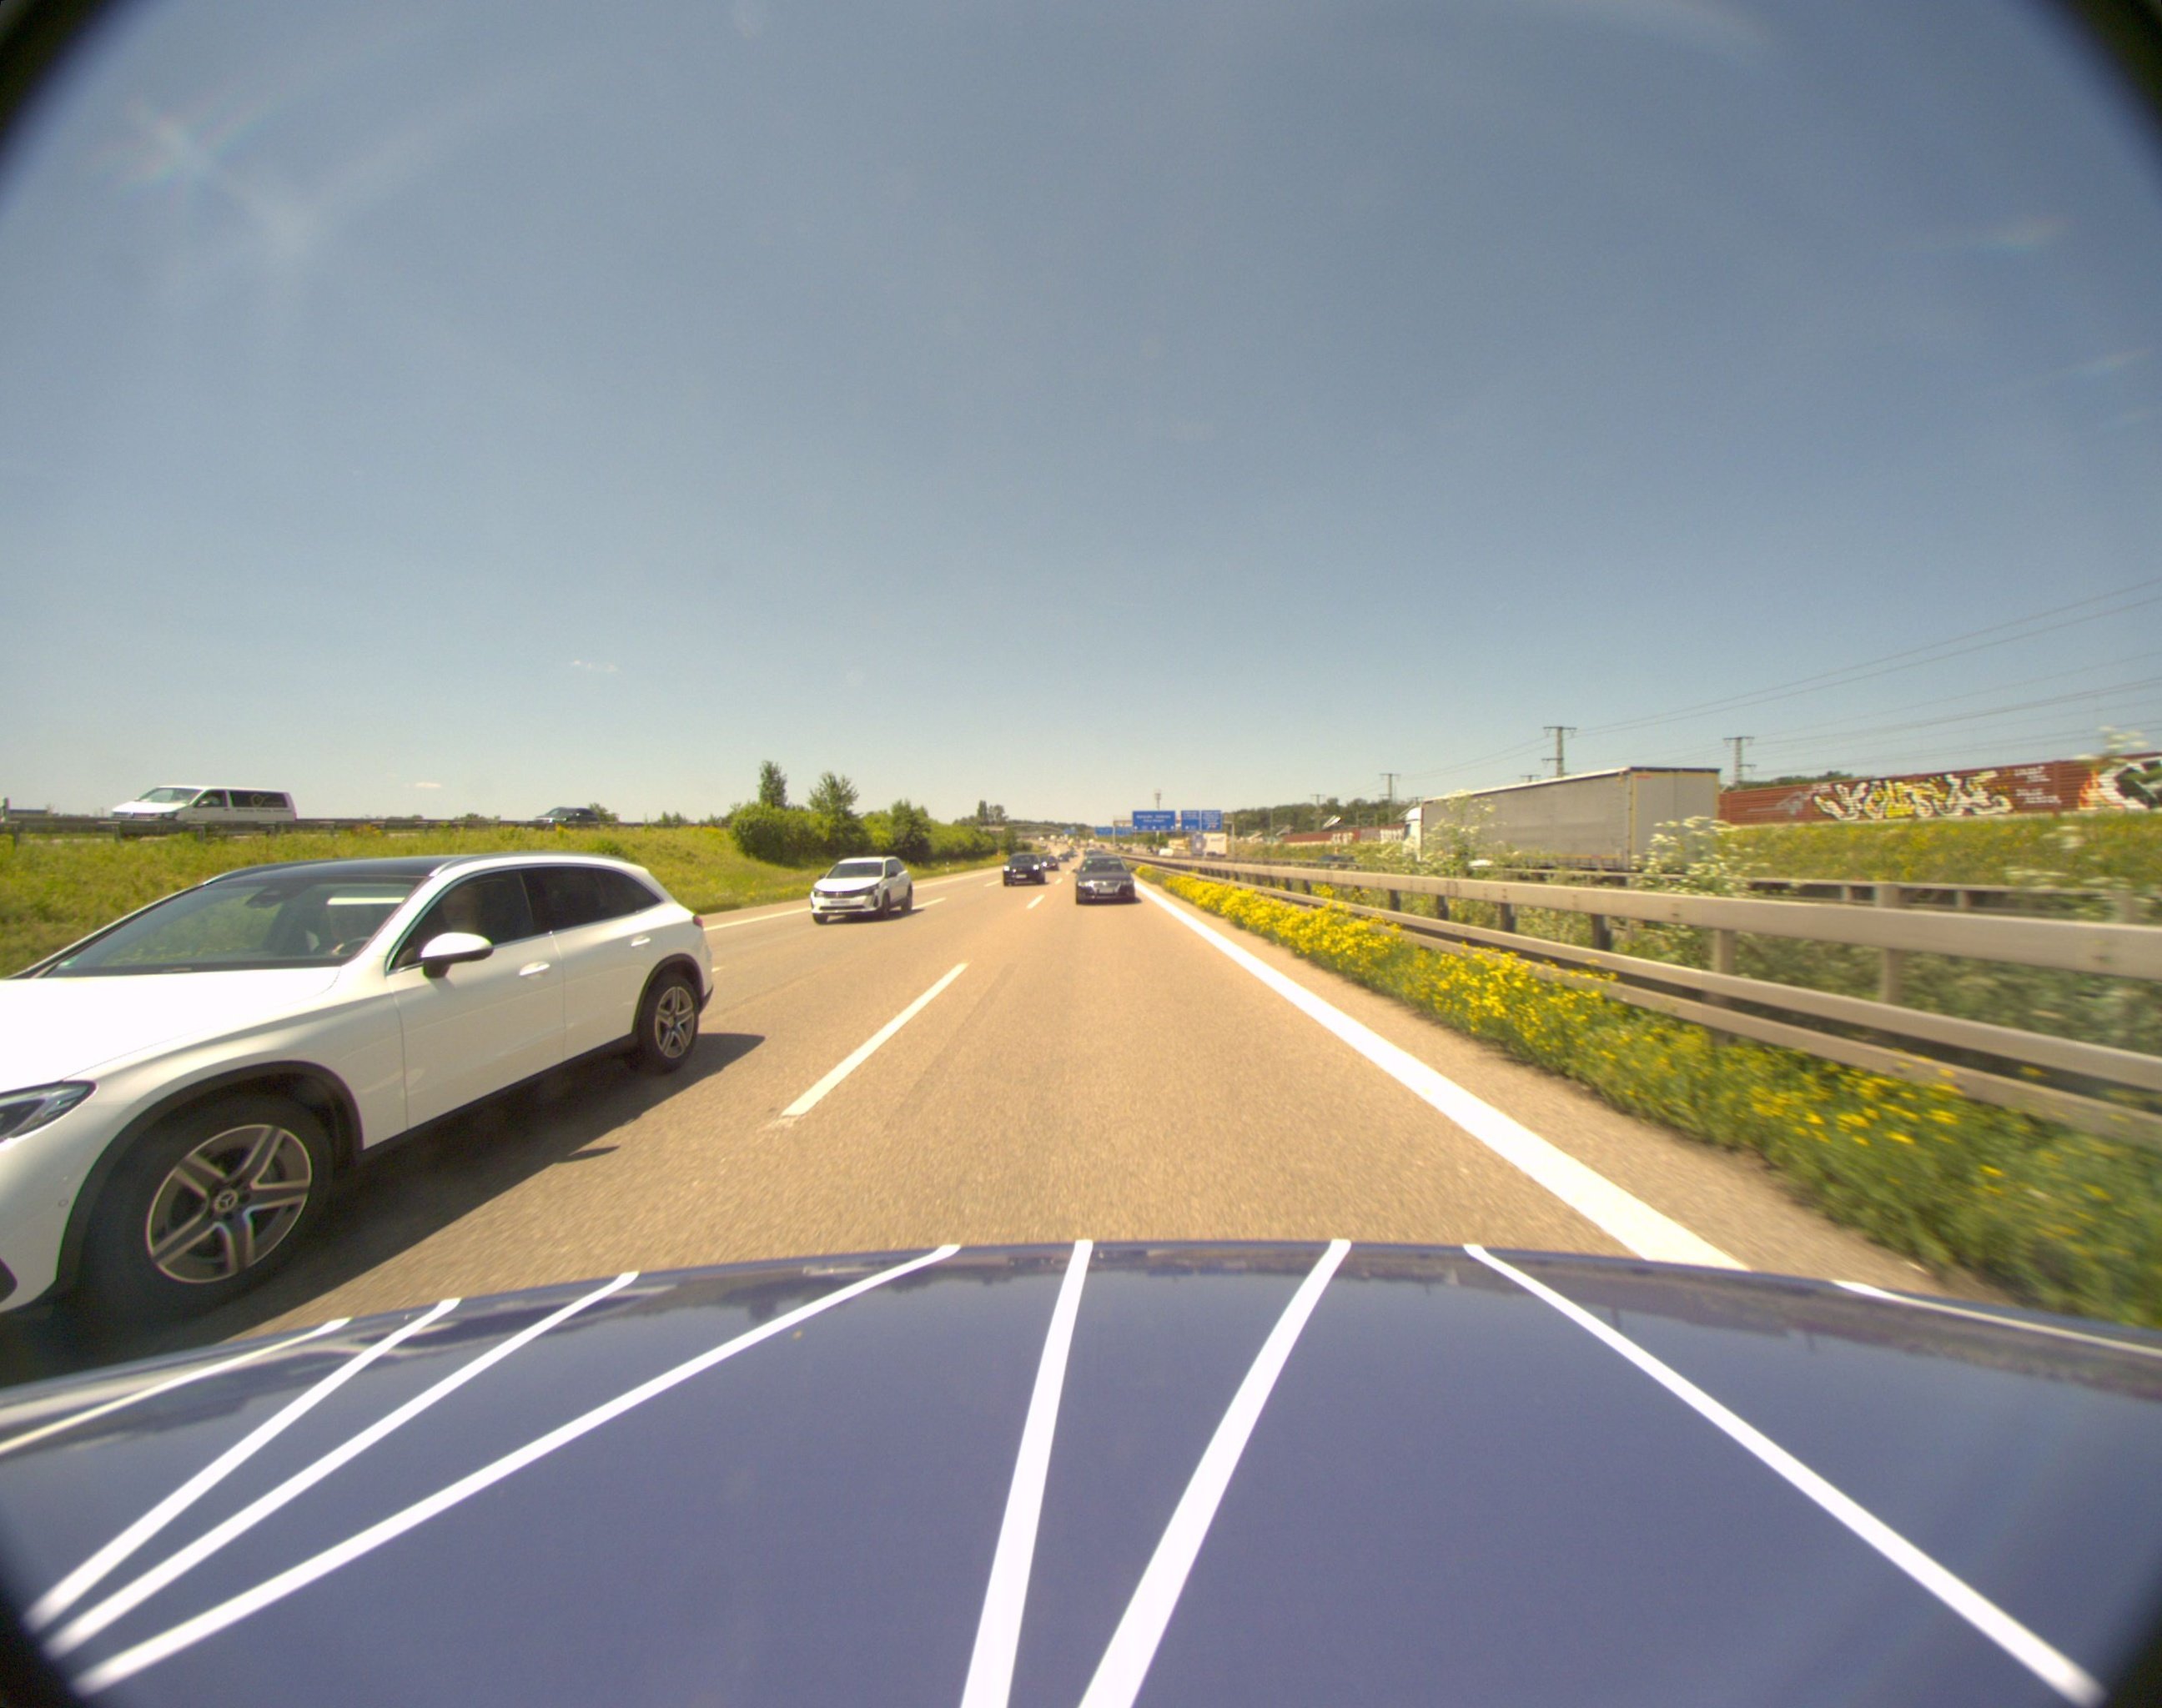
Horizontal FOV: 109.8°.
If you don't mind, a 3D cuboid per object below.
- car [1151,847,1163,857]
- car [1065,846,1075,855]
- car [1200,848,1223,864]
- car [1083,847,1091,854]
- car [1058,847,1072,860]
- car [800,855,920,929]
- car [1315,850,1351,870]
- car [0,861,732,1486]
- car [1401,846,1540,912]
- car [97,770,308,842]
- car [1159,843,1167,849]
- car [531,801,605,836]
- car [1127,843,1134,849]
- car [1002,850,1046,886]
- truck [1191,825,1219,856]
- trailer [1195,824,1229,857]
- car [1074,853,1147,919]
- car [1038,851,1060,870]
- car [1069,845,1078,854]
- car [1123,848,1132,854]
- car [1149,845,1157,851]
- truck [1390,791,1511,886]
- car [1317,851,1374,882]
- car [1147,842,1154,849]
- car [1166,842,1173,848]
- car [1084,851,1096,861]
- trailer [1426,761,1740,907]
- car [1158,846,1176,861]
[{"bbox_3d":[13.315,-0.377,133.828,1.723,1.625,4.191,-3,2,1],"label":"car"},{"bbox_3d":[-2.412,-0.765,163.141,1.999,1.691,3.999,-2,1,0],"label":"car"},{"bbox_3d":[14.602,0.192,85.185,1.820,1.637,4.362,-1,1,1],"label":"car"},{"bbox_3d":[1.734,-1.035,216.878,1.998,2.002,3.999,-3,2,1],"label":"car"},{"bbox_3d":[-2.465,-0.098,117.925,1.999,2.002,3.999,-2,1,0],"label":"car"},{"bbox_3d":[-5.845,0.923,20.731,1.898,1.620,4.615,-2,1,0],"label":"car"},{"bbox_3d":[21.074,0.473,63.649,1.758,1.510,3.836,-1,1,1],"label":"car"},{"bbox_3d":[-3.951,0.942,4.059,1.909,1.646,4.636,-2,1,1],"label":"car"},{"bbox_3d":[9.770,0.569,19.397,1.649,1.470,3.814,-1,0,1],"label":"car"},{"bbox_3d":[-30.591,-1.584,26.763,2.000,2.159,4.890,-2,0,-7],"label":"car"},{"bbox_3d":[24.663,-2.537,228.225,1.998,1.716,4.512,-2,1,1],"label":"car"},{"bbox_3d":[-32.459,-2.195,48.203,1.999,2.002,3.998,-3,2,-3],"label":"car"},{"bbox_3d":[15.843,-2.556,242.234,1.998,1.686,4.188,-1,1,1],"label":"car"},{"bbox_3d":[-2.940,0.675,39.894,1.983,1.620,4.615,-2,1,-1],"label":"car"},{"bbox_3d":[18.163,-1.888,111.743,2.895,4.382,7.502,0,1,1],"label":"truck"},{"bbox_3d":[18.044,-1.834,105.578,2.895,4.382,12.090,0,1,1],"label":"trailer"},{"bbox_3d":[0.721,0.796,20.920,1.752,1.462,3.998,-2,2,0],"label":"car"},{"bbox_3d":[-2.771,0.520,65.244,1.752,1.462,3.998,-2,2,-2],"label":"car"},{"bbox_3d":[-1.795,-1.037,182.956,1.998,2.002,3.999,-3,2,1],"label":"car"},{"bbox_3d":[11.894,-0.845,194.879,1.998,1.455,4.384,-2,1,1],"label":"car"},{"bbox_3d":[20.096,-1.730,212.730,1.998,1.478,3.931,0,1,1],"label":"car"},{"bbox_3d":[17.158,-0.675,35.771,2.736,4.048,6.380,0,1,2],"label":"truck"},{"bbox_3d":[13.512,0.584,39.045,1.648,1.453,3.836,-2,0,2],"label":"car"},{"bbox_3d":[23.178,-2.784,253.798,1.998,2.002,4.308,-3,2,1],"label":"car"},{"bbox_3d":[28.089,-2.841,240.963,1.998,1.716,4.512,-2,1,2],"label":"car"},{"bbox_3d":[1.639,0.307,136.449,1.999,1.691,3.999,-2,1,0],"label":"car"},{"bbox_3d":[17.033,-0.609,27.932,2.737,4.050,13.528,0,1,1],"label":"trailer"},{"bbox_3d":[10.750,-0.114,94.981,1.820,1.775,4.538,-1,1,1],"label":"car"}]
